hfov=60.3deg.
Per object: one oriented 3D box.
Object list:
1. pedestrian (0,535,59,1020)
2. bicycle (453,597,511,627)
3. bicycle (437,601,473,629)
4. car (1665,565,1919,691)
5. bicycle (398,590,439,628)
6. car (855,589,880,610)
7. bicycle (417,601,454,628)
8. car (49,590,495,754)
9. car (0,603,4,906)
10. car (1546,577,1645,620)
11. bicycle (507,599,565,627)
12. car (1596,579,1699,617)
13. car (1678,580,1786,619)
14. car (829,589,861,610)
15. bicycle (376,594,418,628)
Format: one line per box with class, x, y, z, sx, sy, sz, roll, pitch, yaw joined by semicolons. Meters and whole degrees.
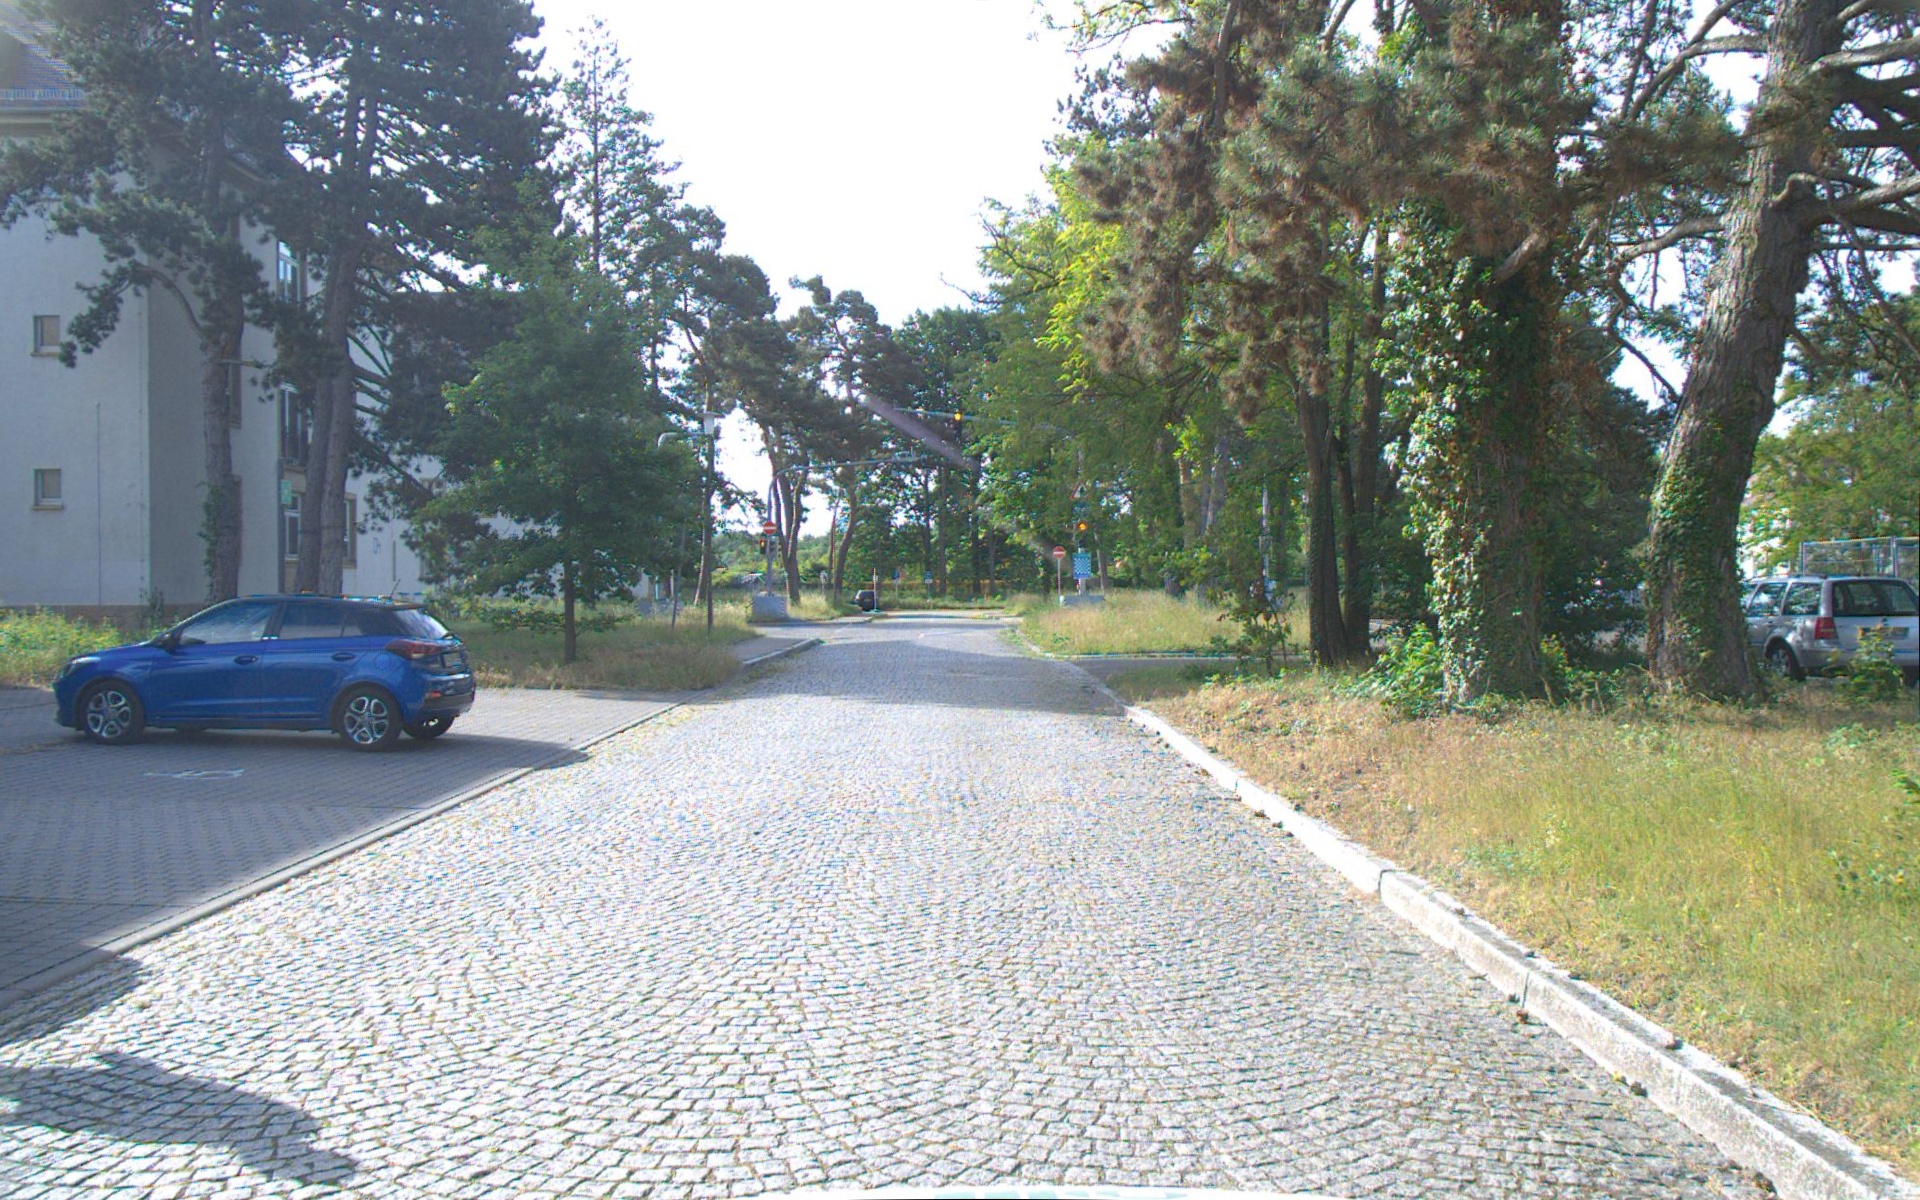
pedestrian;-3.961;0.663;6.000;0.788;1.802;1.152;-1;0;-5
bicycle;-18.834;0.478;65.202;2.075;1.128;0.828;-1;0;-4
bicycle;-20.272;0.584;66.432;0.809;1.065;2.124;-1;0;-1
car;11.072;0.319;21.805;1.634;1.493;3.997;-1;0;-4
bicycle;-21.820;0.348;66.706;0.809;1.462;2.553;-1;0;-1
car;-6.858;-0.025;122.941;1.808;1.512;3.998;-1;0;-3
bicycle;-21.039;0.573;66.377;0.809;1.065;2.124;-1;0;-1
car;-6.857;0.688;16.755;3.757;1.489;1.720;1;0;1
car;-6.748;0.743;7.168;4.172;1.489;1.680;1;2;-3
car;22.969;-0.063;59.916;1.697;1.502;4.328;-1;0;-4
bicycle;-16.751;0.505;65.328;2.075;1.065;0.828;-1;0;-4
car;24.990;-0.084;60.270;1.697;1.335;4.328;1;0;-4
car;28.215;-0.020;60.577;1.697;1.335;4.328;-1;0;-4
car;-8.862;-0.056;127.655;1.745;1.516;3.758;-1;0;6
bicycle;-22.575;0.432;66.394;0.809;1.303;2.553;-1;0;-1
